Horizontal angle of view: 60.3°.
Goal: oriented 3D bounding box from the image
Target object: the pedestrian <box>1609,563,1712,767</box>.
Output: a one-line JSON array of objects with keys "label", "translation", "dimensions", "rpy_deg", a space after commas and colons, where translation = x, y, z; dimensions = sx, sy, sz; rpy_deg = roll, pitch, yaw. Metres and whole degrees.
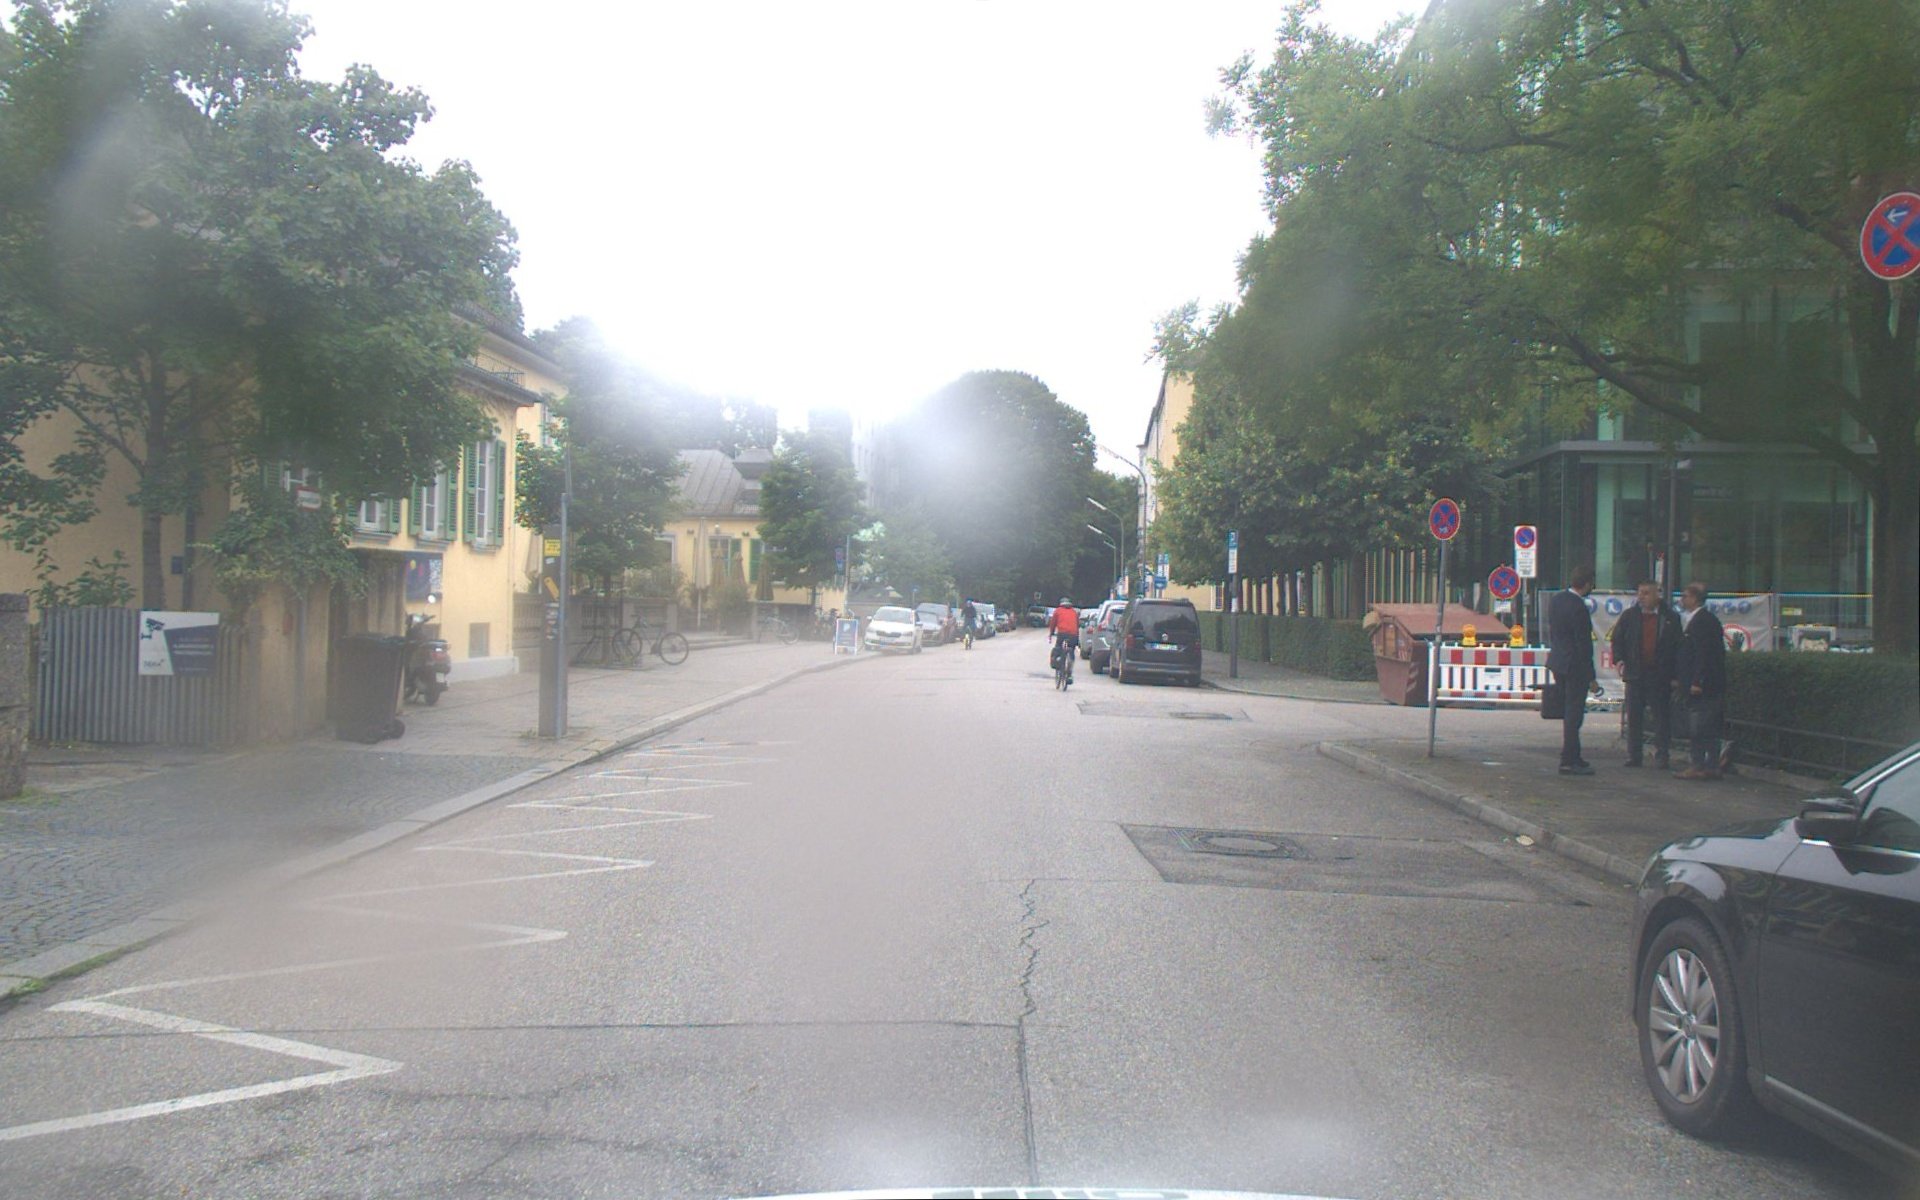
[{"label": "pedestrian", "translation": [6.934, 0.621, 16.360], "dimensions": [0.730, 1.941, 1.052], "rpy_deg": [0, -1, 36]}]

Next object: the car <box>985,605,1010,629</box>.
[{"label": "car", "translation": [2.801, 1.235, 122.246], "dimensions": [1.772, 1.712, 4.001], "rpy_deg": [1, 0, 3]}]

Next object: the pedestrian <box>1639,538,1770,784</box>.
[{"label": "pedestrian", "translation": [6.799, 0.543, 15.148], "dimensions": [0.727, 2.172, 1.056], "rpy_deg": [0, -1, 0]}]

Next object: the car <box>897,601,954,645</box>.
[{"label": "car", "translation": [-1.388, 0.926, 67.996], "dimensions": [1.952, 1.677, 4.657], "rpy_deg": [1, 0, 3]}]

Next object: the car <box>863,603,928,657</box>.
[{"label": "car", "translation": [-2.132, 0.986, 55.410], "dimensions": [1.698, 1.609, 3.789], "rpy_deg": [4, 0, 3]}]

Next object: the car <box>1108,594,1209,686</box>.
[{"label": "car", "translation": [4.311, 0.824, 36.443], "dimensions": [1.724, 1.855, 4.139], "rpy_deg": [2, 0, 1]}]

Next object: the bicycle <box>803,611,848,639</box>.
[{"label": "bicycle", "translation": [-5.034, 0.936, 61.882], "dimensions": [1.597, 1.022, 0.617], "rpy_deg": [2, -2, -32]}]

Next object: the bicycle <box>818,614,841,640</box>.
[{"label": "bicycle", "translation": [-5.297, 1.110, 67.156], "dimensions": [0.608, 1.022, 1.620], "rpy_deg": [1, -2, 6]}]

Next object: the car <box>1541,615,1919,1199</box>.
[{"label": "car", "translation": [3.119, 0.866, 3.616], "dimensions": [1.736, 1.516, 4.971], "rpy_deg": [3, 0, -2]}]

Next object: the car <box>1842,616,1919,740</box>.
[{"label": "car", "translation": [13.801, 1.000, 21.091], "dimensions": [4.116, 1.512, 1.870], "rpy_deg": [1, -1, 5]}]

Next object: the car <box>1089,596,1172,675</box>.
[{"label": "car", "translation": [4.191, 0.837, 41.269], "dimensions": [1.824, 1.825, 4.511], "rpy_deg": [1, 0, 3]}]

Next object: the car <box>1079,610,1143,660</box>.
[{"label": "car", "translation": [4.791, 1.098, 53.002], "dimensions": [1.824, 1.465, 4.257], "rpy_deg": [2, 0, 3]}]

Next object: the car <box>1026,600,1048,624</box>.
[{"label": "car", "translation": [7.454, 1.164, 159.912], "dimensions": [1.952, 2.135, 4.001], "rpy_deg": [4, 0, 3]}]

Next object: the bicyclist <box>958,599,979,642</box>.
[{"label": "bicyclist", "translation": [0.322, 0.761, 61.547], "dimensions": [0.728, 1.603, 0.977], "rpy_deg": [1, 0, -1]}]

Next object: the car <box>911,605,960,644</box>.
[{"label": "car", "translation": [-1.048, 1.094, 73.246], "dimensions": [1.952, 1.631, 4.000], "rpy_deg": [1, -1, 2]}]

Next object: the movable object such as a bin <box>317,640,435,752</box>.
[{"label": "movable object such as a bin", "translation": [-6.028, 0.979, 17.110], "dimensions": [0.916, 1.082, 0.840], "rpy_deg": [1, 0, -2]}]

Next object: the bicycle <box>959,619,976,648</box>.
[{"label": "bicycle", "translation": [0.279, 1.249, 61.469], "dimensions": [0.609, 1.022, 2.140], "rpy_deg": [1, 0, 0]}]

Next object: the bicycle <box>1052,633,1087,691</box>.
[{"label": "bicycle", "translation": [1.991, 1.122, 30.169], "dimensions": [0.608, 1.022, 2.141], "rpy_deg": [1, -2, 3]}]

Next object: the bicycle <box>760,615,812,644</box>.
[{"label": "bicycle", "translation": [-5.808, 0.978, 55.229], "dimensions": [1.592, 0.942, 0.646], "rpy_deg": [1, -2, -24]}]

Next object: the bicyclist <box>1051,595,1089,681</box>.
[{"label": "bicyclist", "translation": [1.996, 0.701, 30.112], "dimensions": [0.657, 1.524, 1.095], "rpy_deg": [1, -2, 3]}]

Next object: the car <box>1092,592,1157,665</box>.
[{"label": "car", "translation": [4.669, 0.781, 47.472], "dimensions": [1.713, 1.977, 4.229], "rpy_deg": [1, 0, 4]}]

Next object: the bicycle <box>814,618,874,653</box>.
[{"label": "bicycle", "translation": [-3.558, 1.104, 50.906], "dimensions": [0.611, 1.021, 2.133], "rpy_deg": [4, 0, 33]}]

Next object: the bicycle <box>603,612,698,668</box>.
[{"label": "bicycle", "translation": [-6.740, 0.869, 36.038], "dimensions": [1.890, 1.118, 0.615], "rpy_deg": [3, 0, 3]}]

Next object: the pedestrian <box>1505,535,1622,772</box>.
[{"label": "pedestrian", "translation": [5.720, 0.497, 15.720], "dimensions": [0.727, 2.172, 1.056], "rpy_deg": [0, -1, 0]}]

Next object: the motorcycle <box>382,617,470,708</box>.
[{"label": "motorcycle", "translation": [-7.149, 0.820, 22.084], "dimensions": [0.552, 1.120, 1.815], "rpy_deg": [3, 0, -36]}]
